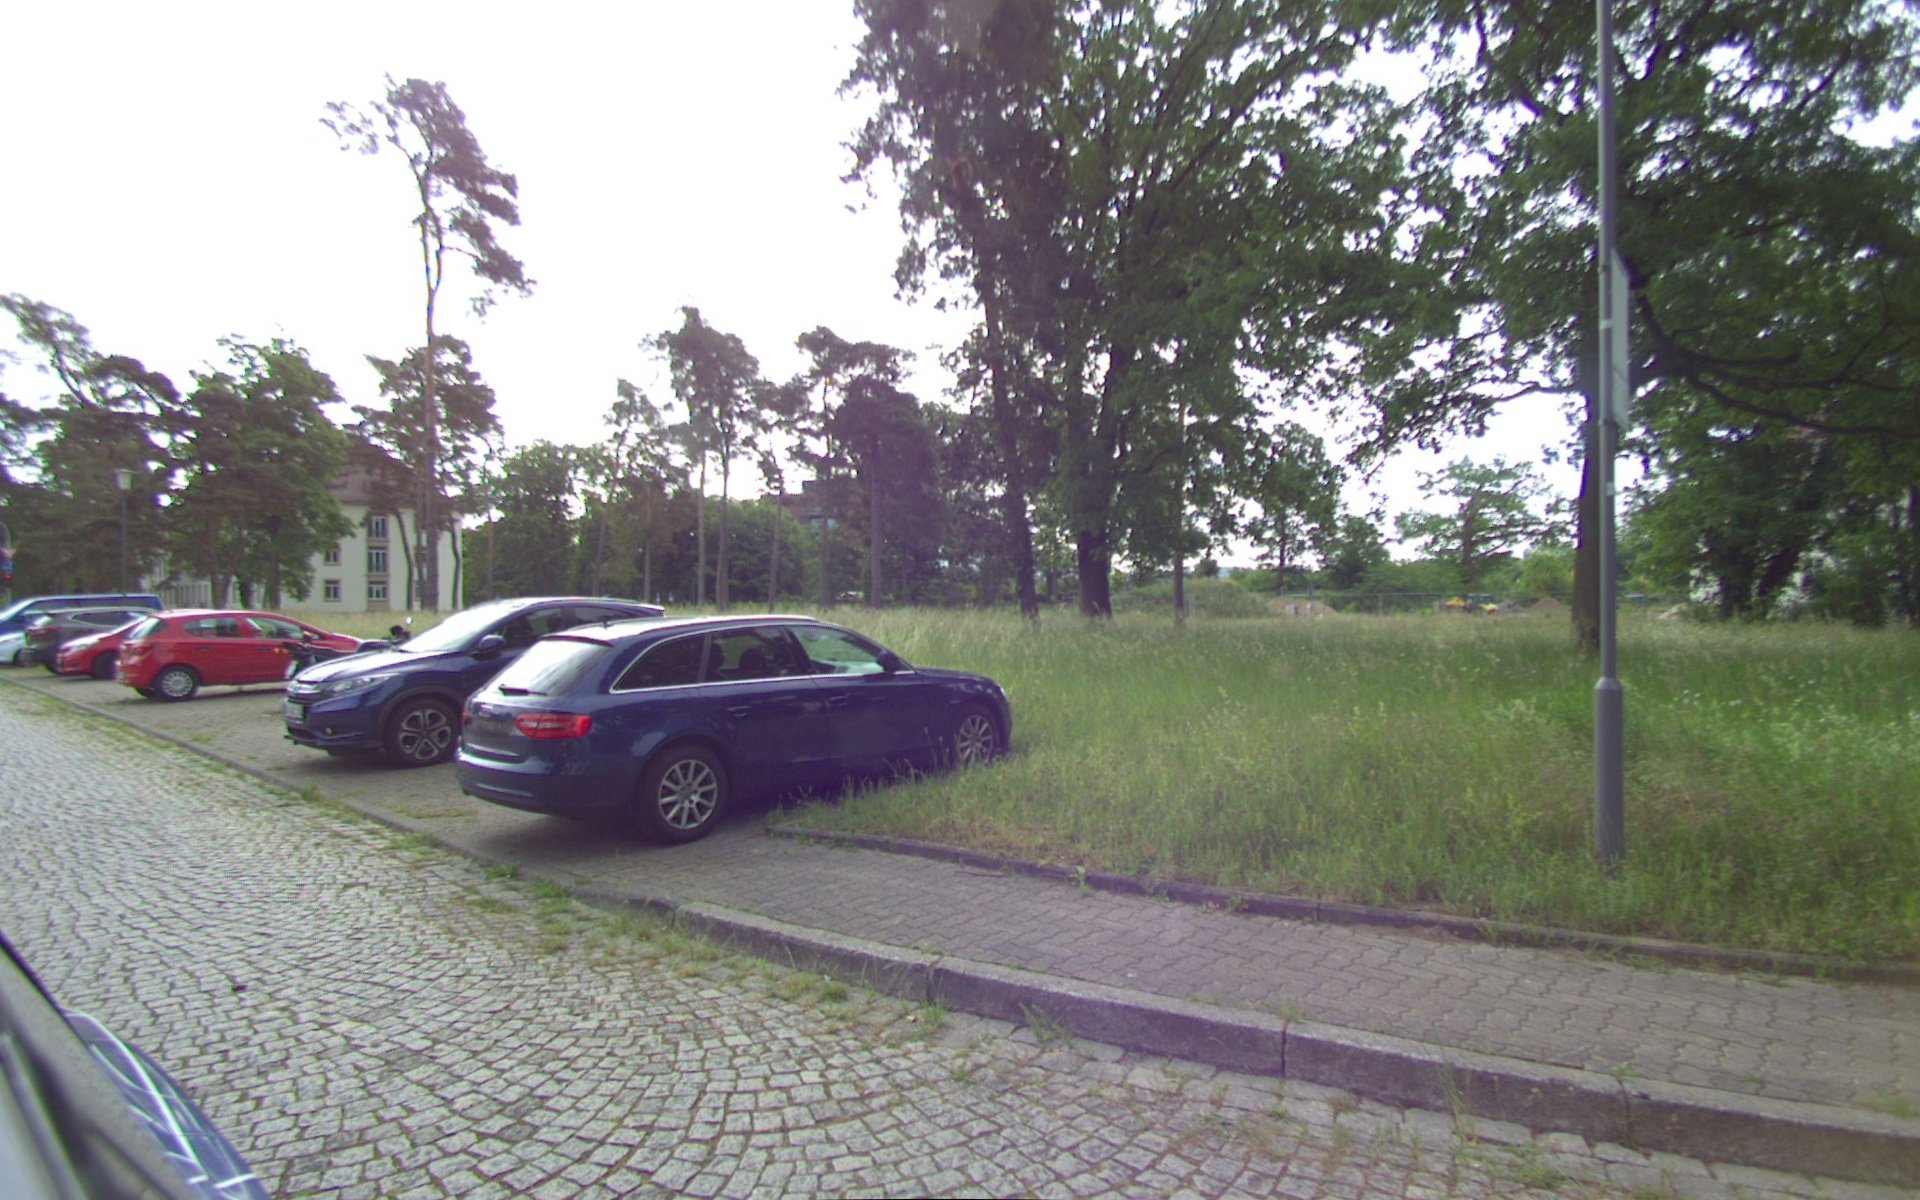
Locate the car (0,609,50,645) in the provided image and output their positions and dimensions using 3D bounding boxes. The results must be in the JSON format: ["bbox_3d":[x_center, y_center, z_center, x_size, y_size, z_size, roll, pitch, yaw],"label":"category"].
[{"bbox_3d":[-43.065,1.208,44.576,1.933,1.560,4.210,-1,-1,37],"label":"car"}]

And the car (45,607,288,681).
[{"bbox_3d":[-18.164,0.941,23.324,1.906,1.522,4.124,-1,-1,40],"label":"car"}]

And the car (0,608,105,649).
[{"bbox_3d":[-35.181,1.070,38.308,1.845,1.493,4.122,-1,-1,42],"label":"car"}]

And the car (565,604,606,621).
[{"bbox_3d":[-42.211,1.412,114.062,1.722,1.820,3.942,-1,-1,44],"label":"car"}]

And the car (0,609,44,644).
[{"bbox_3d":[-44.942,1.231,46.579,1.904,1.554,3.947,-1,-1,40],"label":"car"}]

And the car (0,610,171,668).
[{"bbox_3d":[-25.300,1.065,28.874,1.779,1.522,4.125,-1,-1,39],"label":"car"}]

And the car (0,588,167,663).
[{"bbox_3d":[-27.209,0.746,30.628,2.114,2.138,4.733,-1,-1,40],"label":"car"}]

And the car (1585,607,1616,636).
[{"bbox_3d":[50.818,1.650,80.296,1.994,2.216,4.981,-1,0,33],"label":"car"}]

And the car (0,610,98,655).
[{"bbox_3d":[-33.396,1.139,35.895,1.864,1.503,4.121,-1,-1,42],"label":"car"}]

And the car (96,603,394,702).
[{"bbox_3d":[-12.628,0.844,18.065,1.903,1.536,4.014,-1,-1,39],"label":"car"}]

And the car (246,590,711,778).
[{"bbox_3d":[-5.037,0.726,11.074,1.885,1.589,4.186,-1,1,40],"label":"car"}]

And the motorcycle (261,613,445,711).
[{"bbox_3d":[-9.115,0.889,15.288,0.718,1.301,2.250,-1,1,42],"label":"motorcycle"}]

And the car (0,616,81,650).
[{"bbox_3d":[-37.406,1.285,39.789,1.831,1.276,4.121,-1,-1,42],"label":"car"}]

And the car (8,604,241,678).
[{"bbox_3d":[-20.436,0.939,24.884,1.984,1.634,4.126,-1,-1,38],"label":"car"}]

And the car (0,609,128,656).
[{"bbox_3d":[-30.976,1.075,34.355,1.845,1.508,4.024,-1,-1,42],"label":"car"}]

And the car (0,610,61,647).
[{"bbox_3d":[-41.018,1.197,42.749,1.933,1.519,4.331,-1,-1,39],"label":"car"}]

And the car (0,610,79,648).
[{"bbox_3d":[-39.029,1.191,41.540,1.863,1.487,4.123,-1,-1,40],"label":"car"}]

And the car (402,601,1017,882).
[{"bbox_3d":[-1.668,0.797,7.864,1.975,1.472,4.257,-1,1,42],"label":"car"}]
